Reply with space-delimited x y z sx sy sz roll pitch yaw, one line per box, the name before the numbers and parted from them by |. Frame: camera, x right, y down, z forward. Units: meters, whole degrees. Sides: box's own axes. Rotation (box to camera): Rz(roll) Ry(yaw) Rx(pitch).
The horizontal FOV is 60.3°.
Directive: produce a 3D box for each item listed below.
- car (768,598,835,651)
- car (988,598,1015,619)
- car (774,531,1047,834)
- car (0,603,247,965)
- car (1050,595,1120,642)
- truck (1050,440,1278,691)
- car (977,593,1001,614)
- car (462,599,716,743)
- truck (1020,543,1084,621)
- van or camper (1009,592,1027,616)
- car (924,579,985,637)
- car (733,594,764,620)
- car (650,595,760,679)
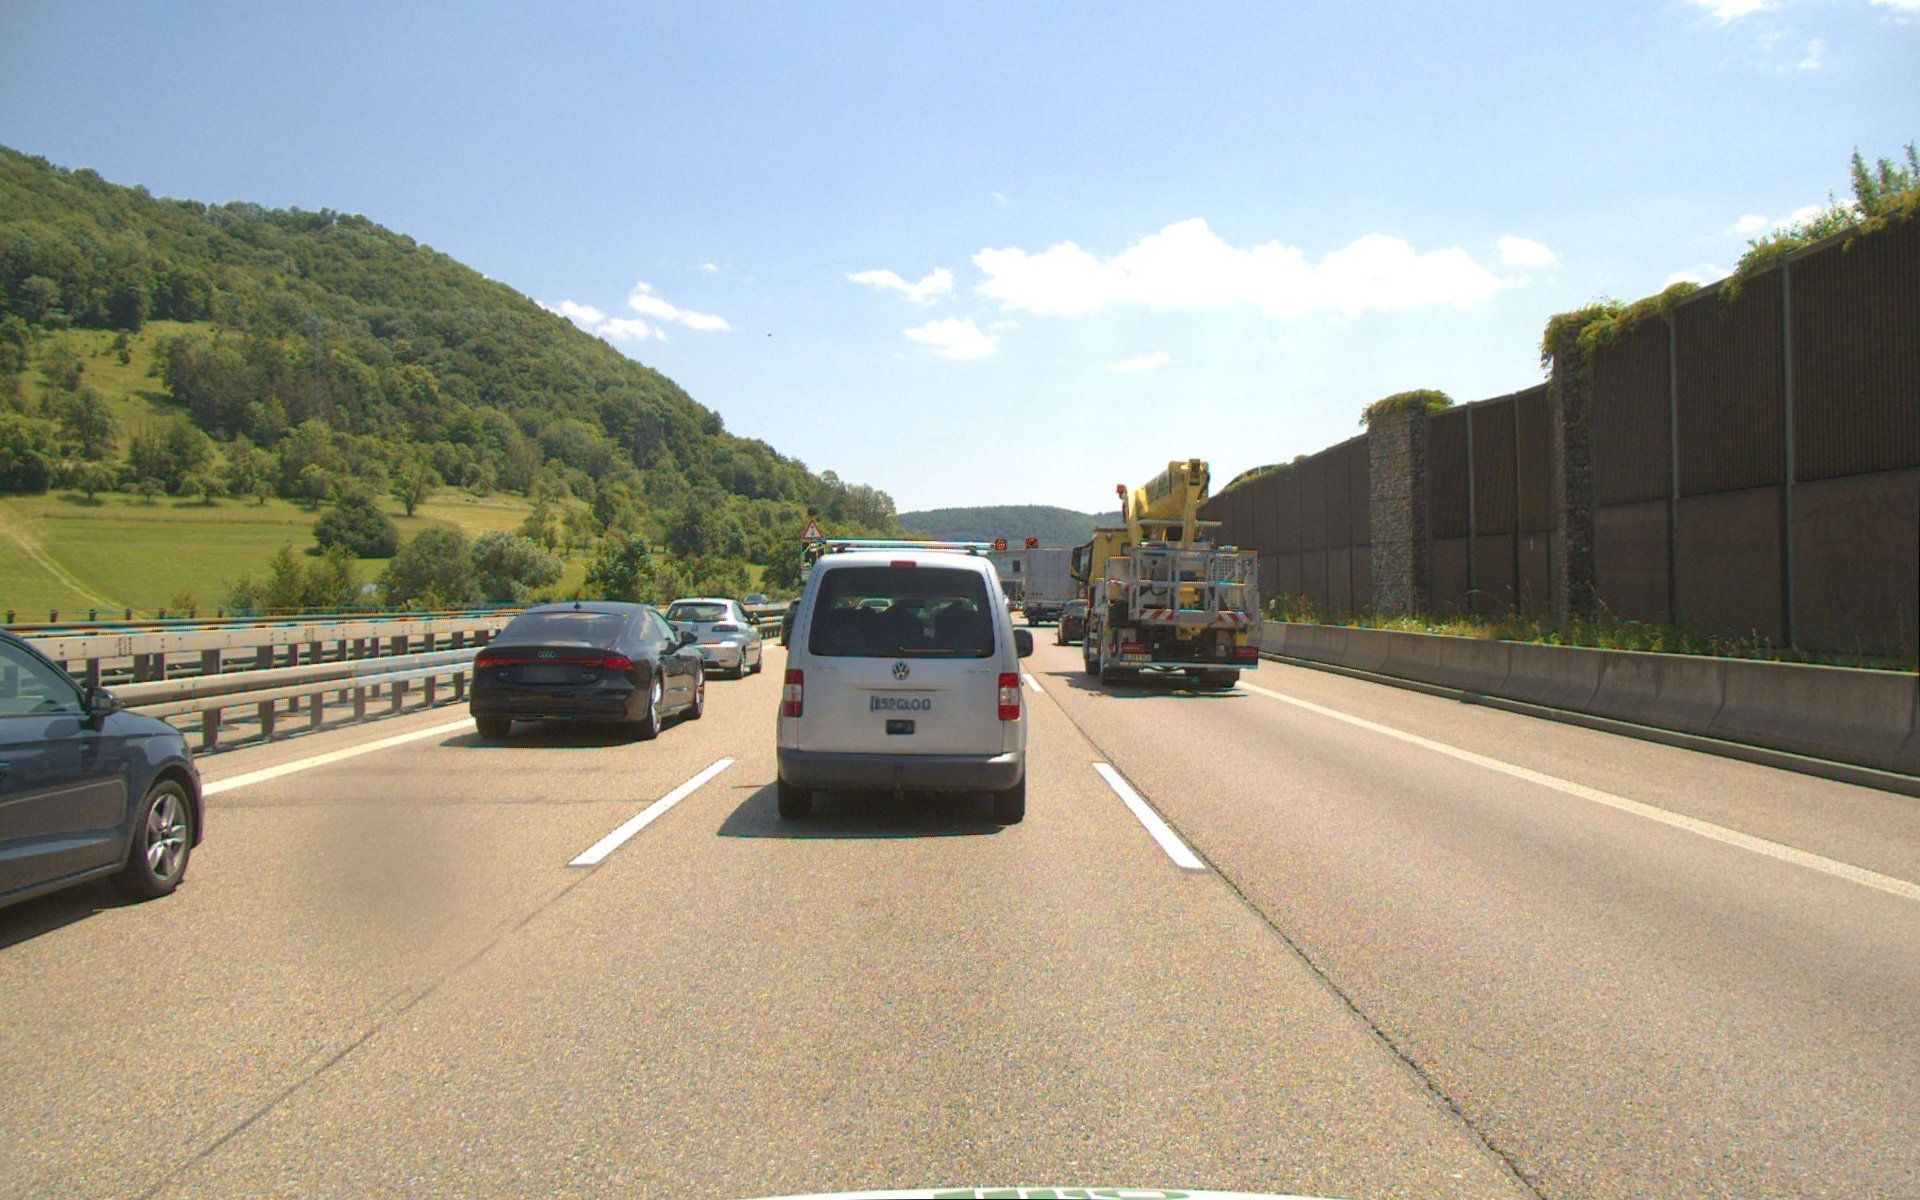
car | -4.786 0.723 50.394 1.887 1.525 3.997 1 0 -4
car | 3.841 0.795 154.338 2.072 1.860 3.996 1 -1 -4
car | -0.436 0.515 12.435 1.721 1.900 3.997 0 0 -4
car | -4.595 0.726 6.760 1.654 1.413 3.999 0 0 -1
car | 4.043 0.587 54.042 1.751 1.484 3.768 0 0 -4
truck | 3.525 -0.553 30.905 2.650 4.011 8.715 0 0 -4
car | 2.503 0.301 143.184 1.953 1.779 3.999 1 -1 -1
car | -4.001 0.696 18.695 1.764 1.415 4.969 0 0 0
truck | 4.794 -0.865 87.669 2.880 3.890 8.236 1 -1 0
van or camper | 7.232 0.530 206.040 1.953 3.005 5.421 1 -1 -1
car | -0.222 0.271 59.640 1.954 2.010 3.997 0 0 -4
car | -16.770 0.543 131.300 1.953 2.049 3.999 0 0 -1
car | -4.686 0.641 30.836 1.662 1.470 3.859 0 0 -4
